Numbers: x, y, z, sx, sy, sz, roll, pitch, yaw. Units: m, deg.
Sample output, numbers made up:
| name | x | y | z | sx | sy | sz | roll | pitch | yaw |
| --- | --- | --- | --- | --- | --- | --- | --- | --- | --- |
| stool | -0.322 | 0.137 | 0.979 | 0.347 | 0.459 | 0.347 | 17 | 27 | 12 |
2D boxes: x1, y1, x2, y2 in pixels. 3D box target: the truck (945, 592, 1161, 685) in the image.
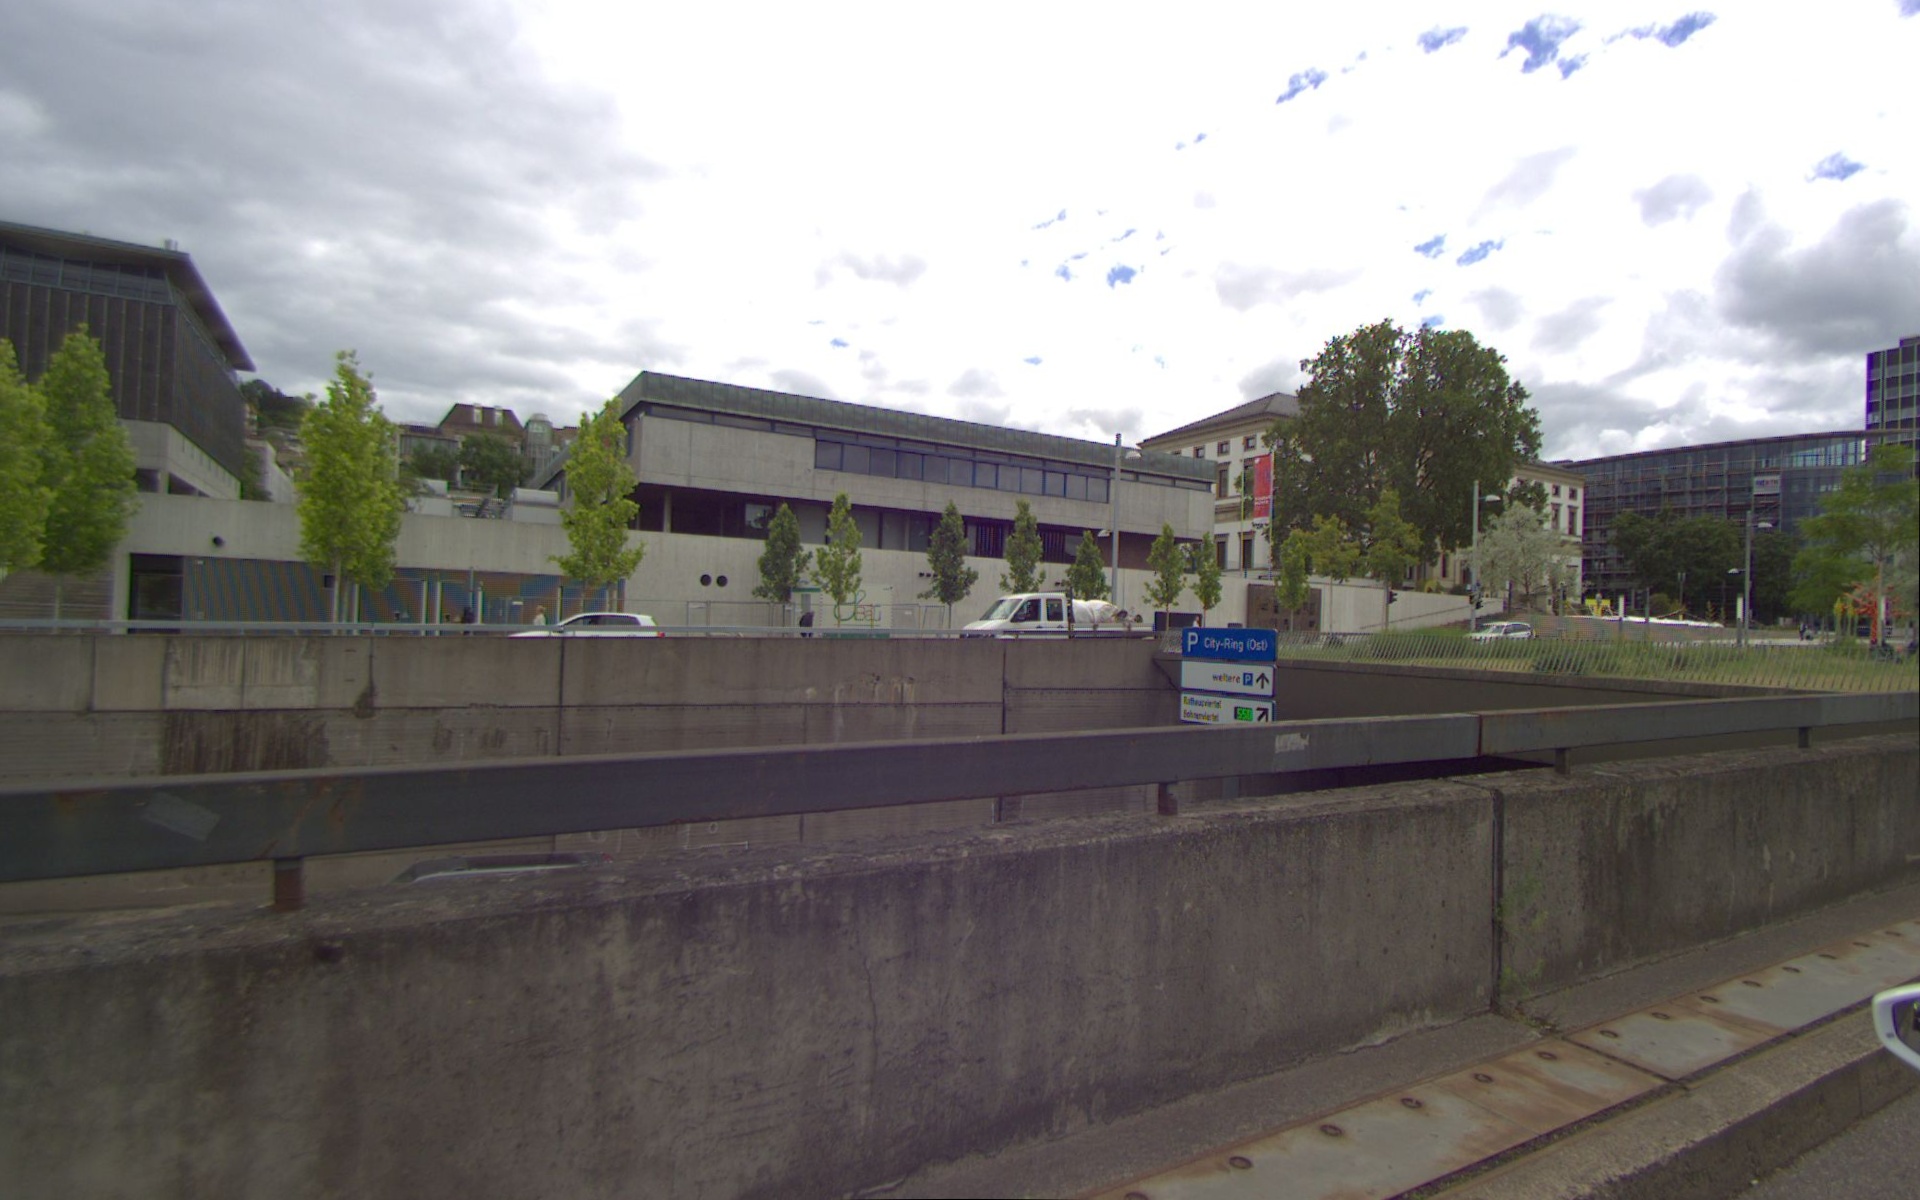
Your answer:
| name | x | y | z | sx | sy | sz | roll | pitch | yaw |
| --- | --- | --- | --- | --- | --- | --- | --- | --- | --- |
| truck | 3.160 | 1.197 | 33.504 | 6.990 | 2.854 | 2.454 | 1 | 0 | -28 |

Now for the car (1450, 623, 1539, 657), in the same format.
| name | x | y | z | sx | sy | sz | roll | pitch | yaw |
| --- | --- | --- | --- | --- | --- | --- | --- | --- | --- |
| car | 26.812 | 1.972 | 50.351 | 4.555 | 1.595 | 1.712 | 1 | 0 | -28 |

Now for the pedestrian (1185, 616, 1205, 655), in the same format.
| name | x | y | z | sx | sy | sz | roll | pitch | yaw |
| --- | --- | --- | --- | --- | --- | --- | --- | --- | --- |
| pedestrian | 10.700 | 1.602 | 45.792 | 0.655 | 1.757 | 0.537 | 1 | 0 | -29 |

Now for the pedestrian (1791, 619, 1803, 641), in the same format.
| name | x | y | z | sx | sy | sz | roll | pitch | yaw |
| --- | --- | --- | --- | --- | --- | --- | --- | --- | --- |
| pedestrian | 67.299 | 2.406 | 80.755 | 0.643 | 1.671 | 0.521 | 1 | 1 | -31 |

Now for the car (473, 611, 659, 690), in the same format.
| name | x | y | z | sx | sy | sz | roll | pitch | yaw |
| --- | --- | --- | --- | --- | --- | --- | --- | --- | --- |
| car | -10.040 | 1.214 | 25.663 | 4.207 | 1.840 | 1.984 | 1 | 0 | -30 |

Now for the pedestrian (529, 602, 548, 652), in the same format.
| name | x | y | z | sx | sy | sz | roll | pitch | yaw |
| --- | --- | --- | --- | --- | --- | --- | --- | --- | --- |
| pedestrian | -13.398 | 0.856 | 31.937 | 0.457 | 1.542 | 0.424 | 1 | 1 | -36 |

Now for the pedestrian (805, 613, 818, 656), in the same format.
| name | x | y | z | sx | sy | sz | roll | pitch | yaw |
| --- | --- | --- | --- | --- | --- | --- | --- | --- | --- |
| pedestrian | -5.431 | 1.270 | 36.699 | 0.314 | 1.542 | 0.315 | 1 | 1 | -36 |

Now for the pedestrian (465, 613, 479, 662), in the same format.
| name | x | y | z | sx | sy | sz | roll | pitch | yaw |
| --- | --- | --- | --- | --- | --- | --- | --- | --- | --- |
| pedestrian | -15.714 | 1.204 | 32.323 | 0.314 | 1.542 | 0.410 | 1 | 1 | -36 |
